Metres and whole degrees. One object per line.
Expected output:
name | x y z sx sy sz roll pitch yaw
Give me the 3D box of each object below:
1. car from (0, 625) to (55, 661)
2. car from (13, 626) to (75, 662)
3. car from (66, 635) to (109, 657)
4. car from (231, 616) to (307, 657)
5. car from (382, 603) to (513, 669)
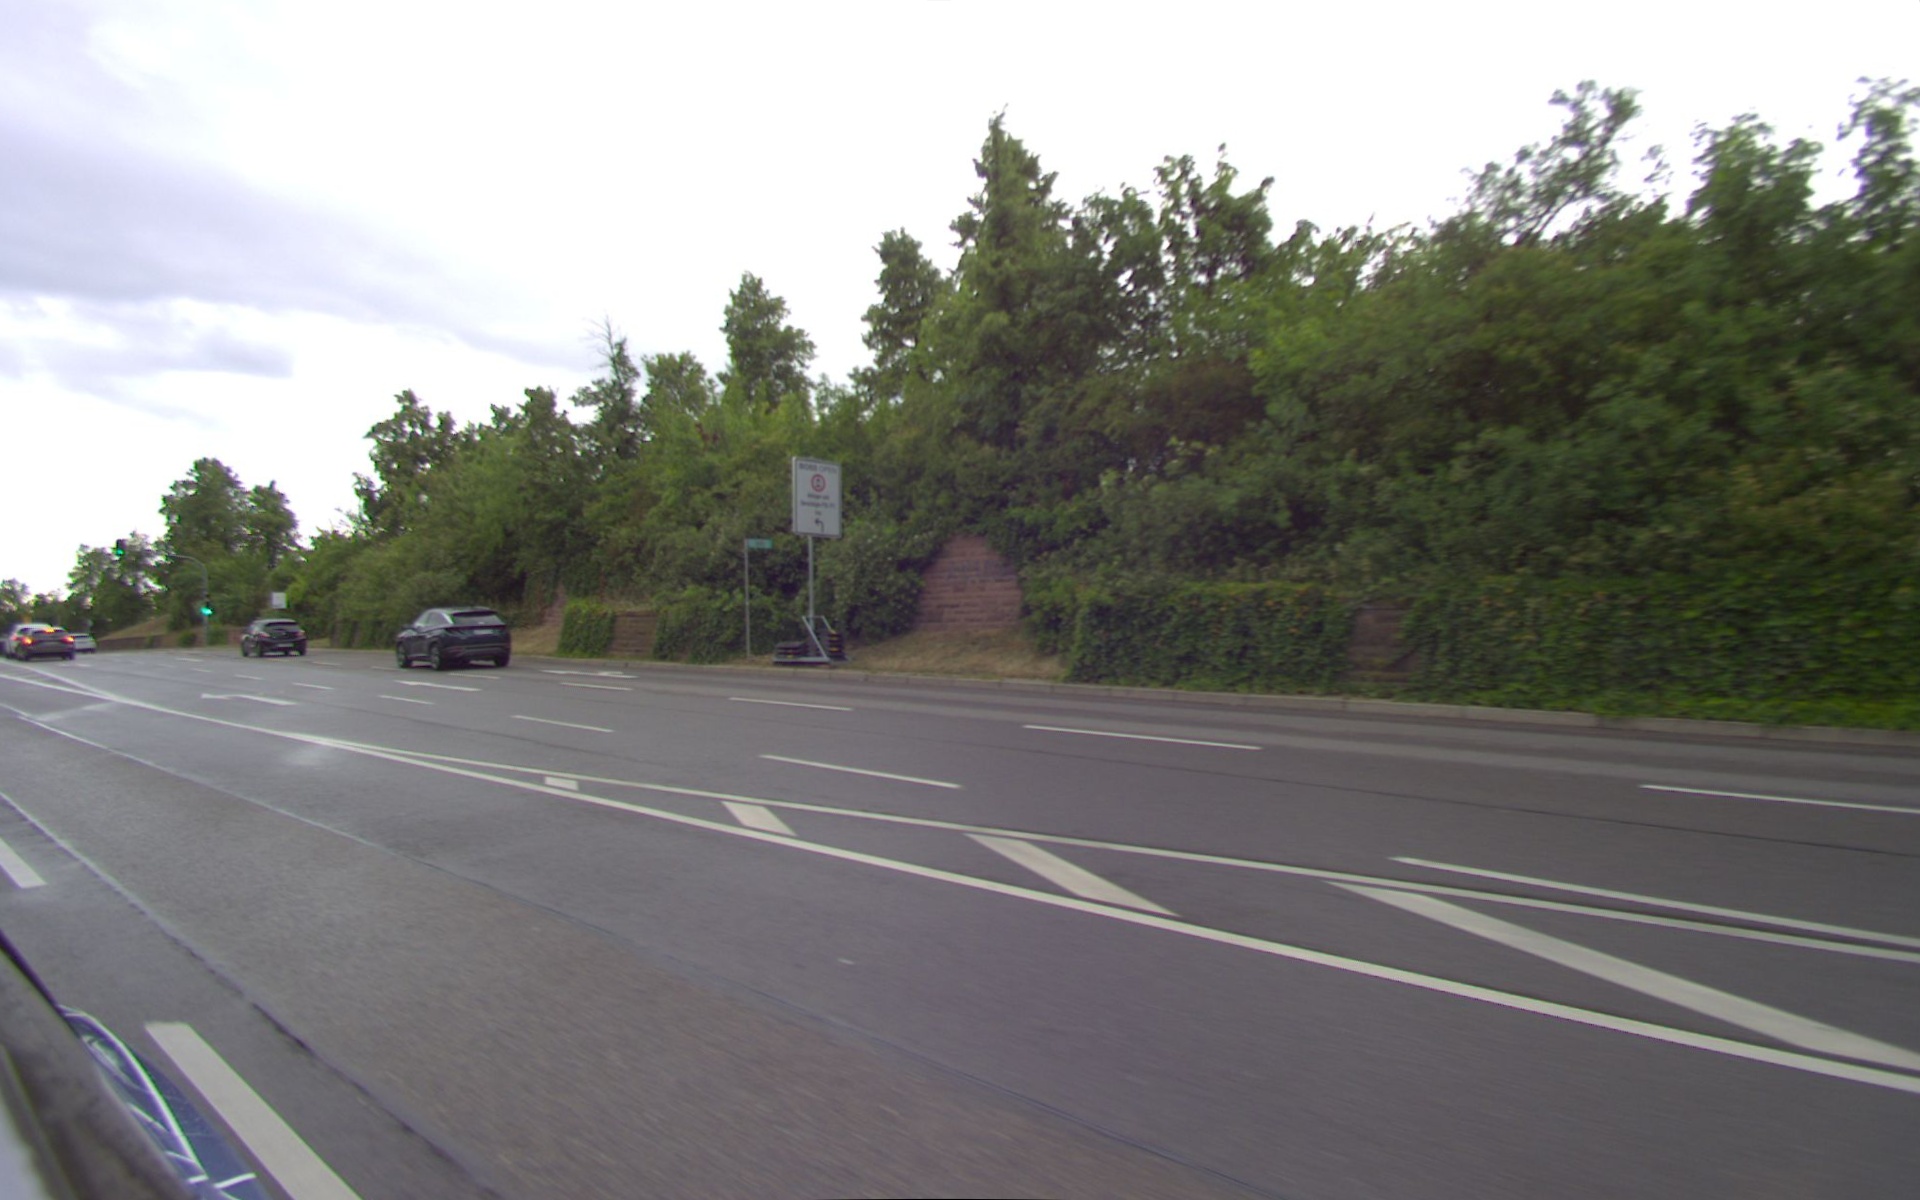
car | -47.017 2.148 50.906 4.450 1.668 1.865 -2 -1 43
car | -41.200 1.956 45.497 3.997 1.478 1.758 -2 -1 43
car | -68.675 3.624 79.653 4.446 1.668 1.867 -2 -1 40
car | -27.617 1.445 40.419 3.861 1.478 1.657 -2 0 43
car | -14.064 0.976 27.664 4.428 1.618 1.780 -2 0 44
